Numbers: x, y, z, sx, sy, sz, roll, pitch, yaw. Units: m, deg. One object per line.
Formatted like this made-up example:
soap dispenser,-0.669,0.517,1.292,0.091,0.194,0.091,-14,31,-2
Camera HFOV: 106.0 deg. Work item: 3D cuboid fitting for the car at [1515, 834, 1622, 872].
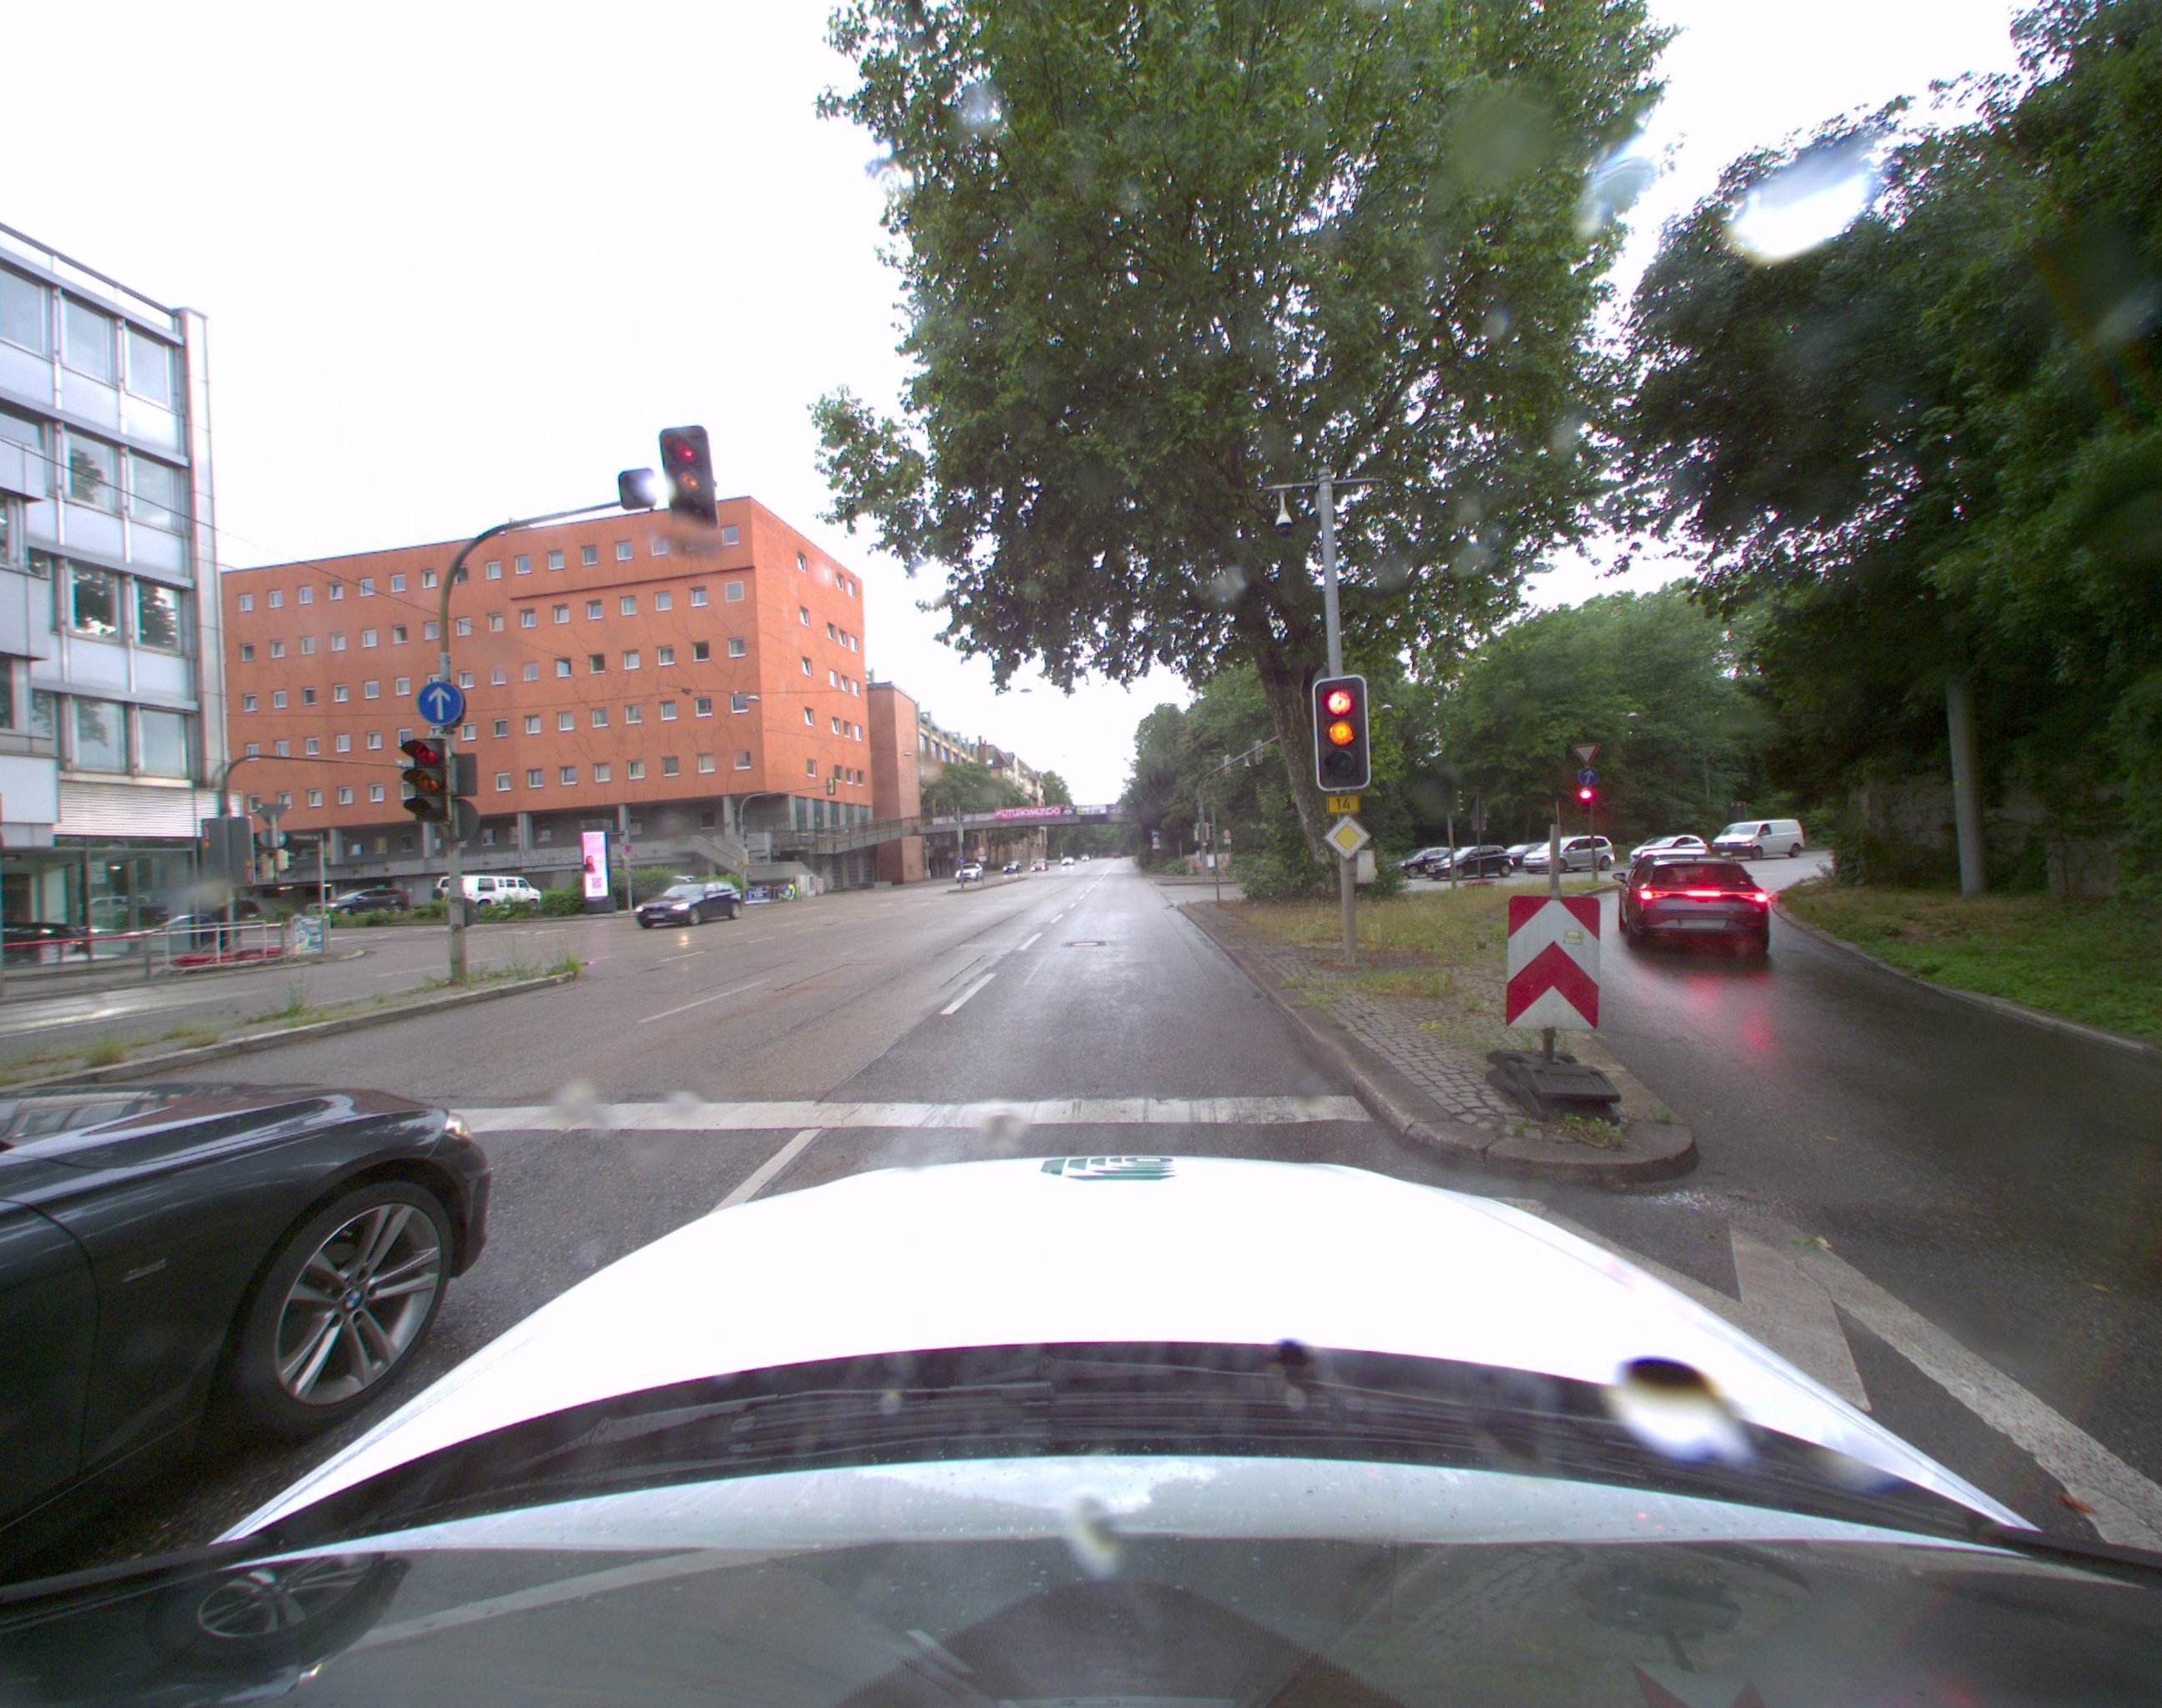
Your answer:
car,22.619,-0.047,37.828,4.203,1.680,1.898,0,-1,-14

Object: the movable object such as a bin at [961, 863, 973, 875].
movable object such as a bin,-15.119,1.932,107.670,1.277,1.518,1.274,-3,0,3

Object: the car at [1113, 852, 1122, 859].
car,8.839,0.425,198.730,1.998,1.643,4.376,-3,0,0

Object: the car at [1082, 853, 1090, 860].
car,1.103,0.630,181.644,1.594,1.499,3.715,-4,-1,3

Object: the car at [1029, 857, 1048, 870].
car,-5.206,1.122,99.337,1.674,1.436,3.869,-3,-1,6

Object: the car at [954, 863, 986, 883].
car,-9.906,1.656,73.093,1.881,1.610,4.461,-3,-1,4

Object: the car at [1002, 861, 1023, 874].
car,-8.231,1.561,97.968,1.701,1.464,4.047,-3,-1,5

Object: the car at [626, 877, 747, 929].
car,-13.016,1.566,27.192,1.678,1.419,4.219,-4,-1,4

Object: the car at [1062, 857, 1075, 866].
car,-2.090,1.198,135.115,1.823,1.393,4.409,-4,-1,3

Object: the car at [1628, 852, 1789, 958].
car,10.050,0.685,13.342,1.731,1.403,4.442,1,1,33

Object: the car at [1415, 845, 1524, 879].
car,17.161,0.347,36.028,4.192,1.460,1.784,0,-1,-14

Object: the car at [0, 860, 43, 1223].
car,-5.997,0.847,1.695,1.801,1.656,4.449,0,-1,4

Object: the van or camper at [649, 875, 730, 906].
van or camper,-24.010,2.213,50.006,3.965,1.627,1.918,-3,0,8

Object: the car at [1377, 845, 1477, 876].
car,16.884,0.312,39.813,4.205,1.440,1.941,0,-1,-14

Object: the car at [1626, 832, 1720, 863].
car,28.844,-0.301,39.718,3.857,1.461,1.650,0,-1,-14

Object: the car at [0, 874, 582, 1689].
car,-2.920,0.837,0.886,1.769,1.458,4.480,-3,-1,3

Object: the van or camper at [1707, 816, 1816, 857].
van or camper,34.732,-0.879,41.590,4.861,1.947,1.896,-1,-1,-17

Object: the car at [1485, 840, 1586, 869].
car,22.987,0.034,41.230,4.438,1.402,1.821,0,-1,-14

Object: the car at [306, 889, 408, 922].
car,-40.247,2.820,45.403,1.699,1.612,4.097,-1,-1,9

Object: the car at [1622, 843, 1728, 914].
car,14.296,0.484,19.667,1.834,1.448,4.648,2,2,36

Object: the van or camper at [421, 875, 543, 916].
van or camper,-32.837,2.224,44.911,2.113,1.977,5.466,0,-1,9
